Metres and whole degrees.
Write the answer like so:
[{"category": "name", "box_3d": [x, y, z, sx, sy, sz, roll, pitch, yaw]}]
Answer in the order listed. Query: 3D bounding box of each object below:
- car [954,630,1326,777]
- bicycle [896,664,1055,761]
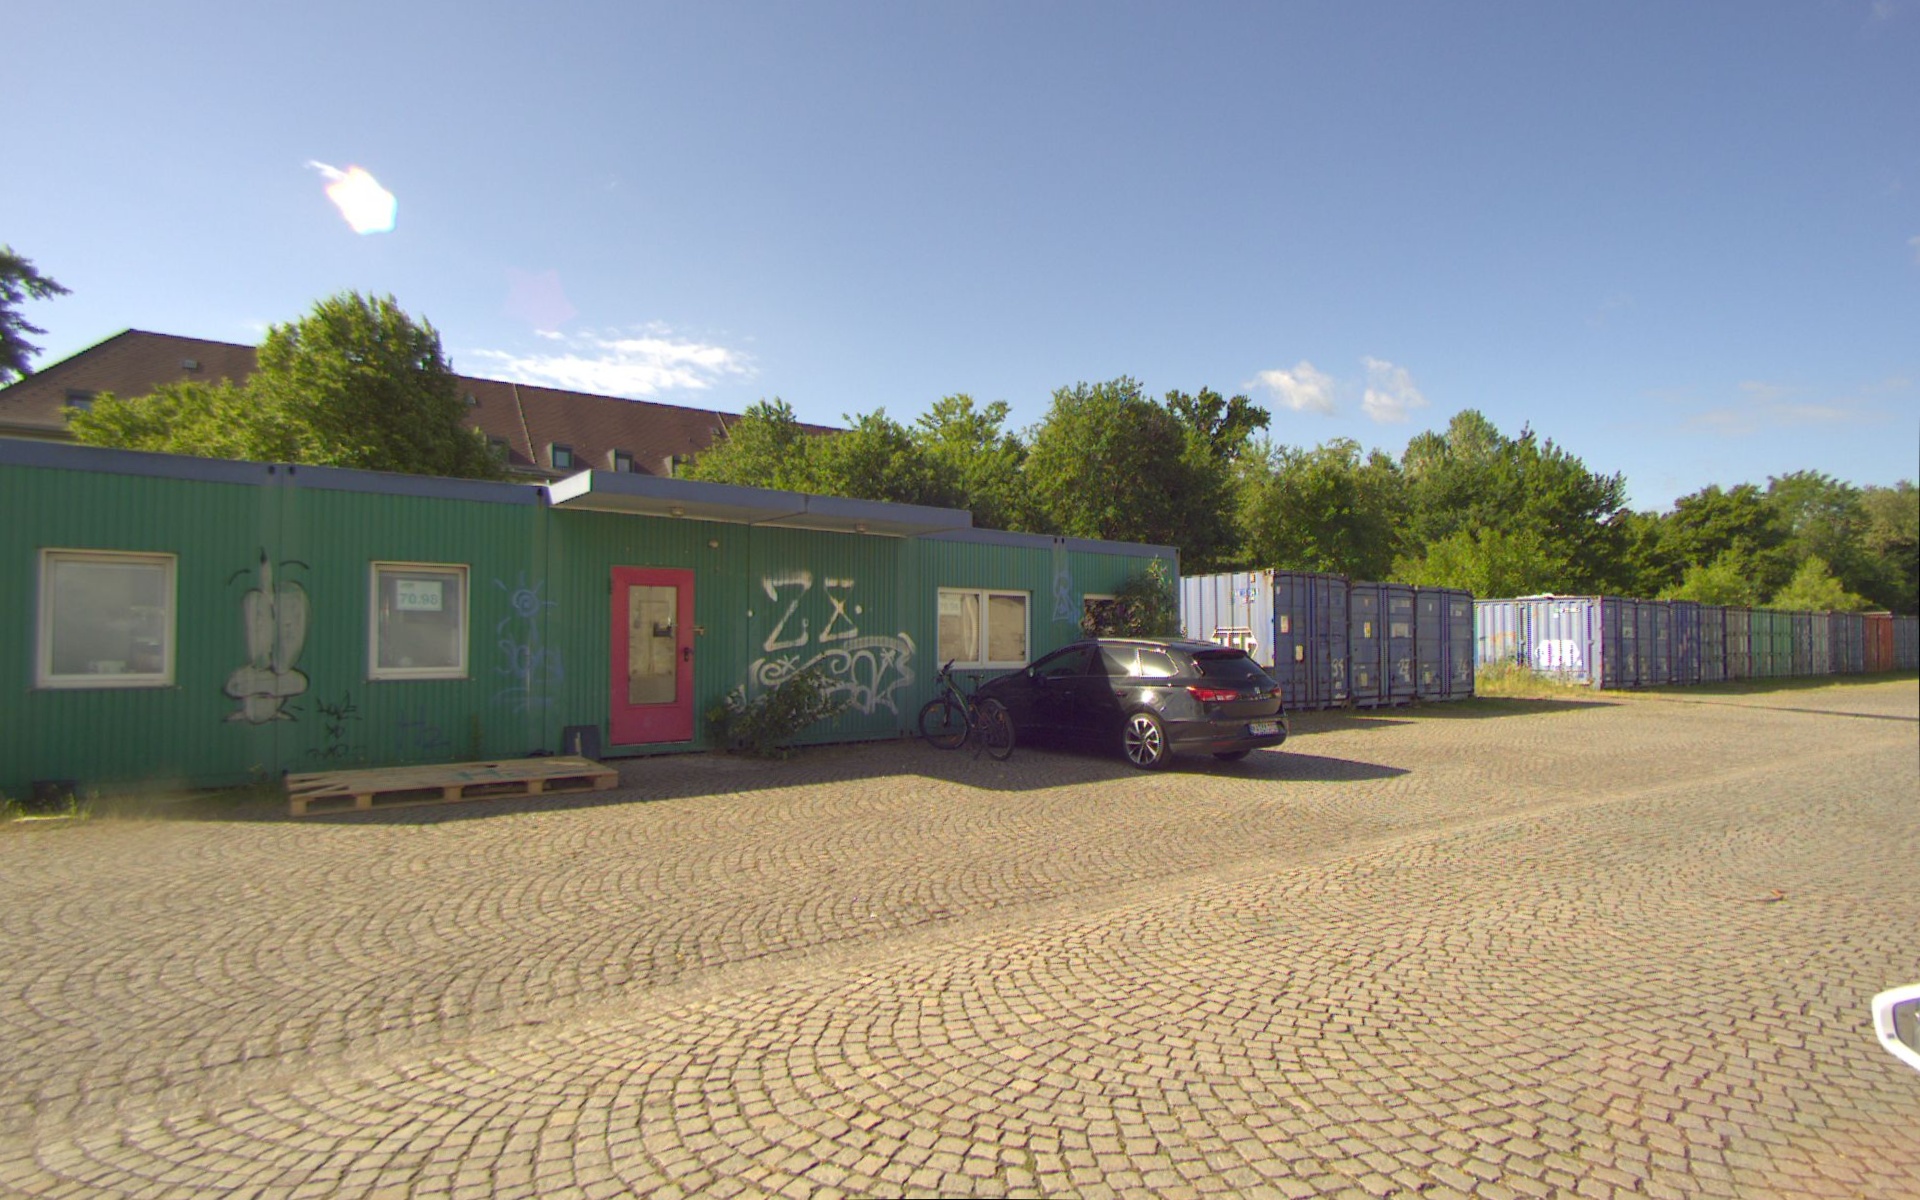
[{"category": "car", "box_3d": [2.026, 1.122, 12.490, 1.982, 1.484, 4.381, 2, -2, -38]}, {"category": "bicycle", "box_3d": [0.156, 1.330, 12.328, 1.029, 1.041, 1.861, 1, -3, -37]}]
